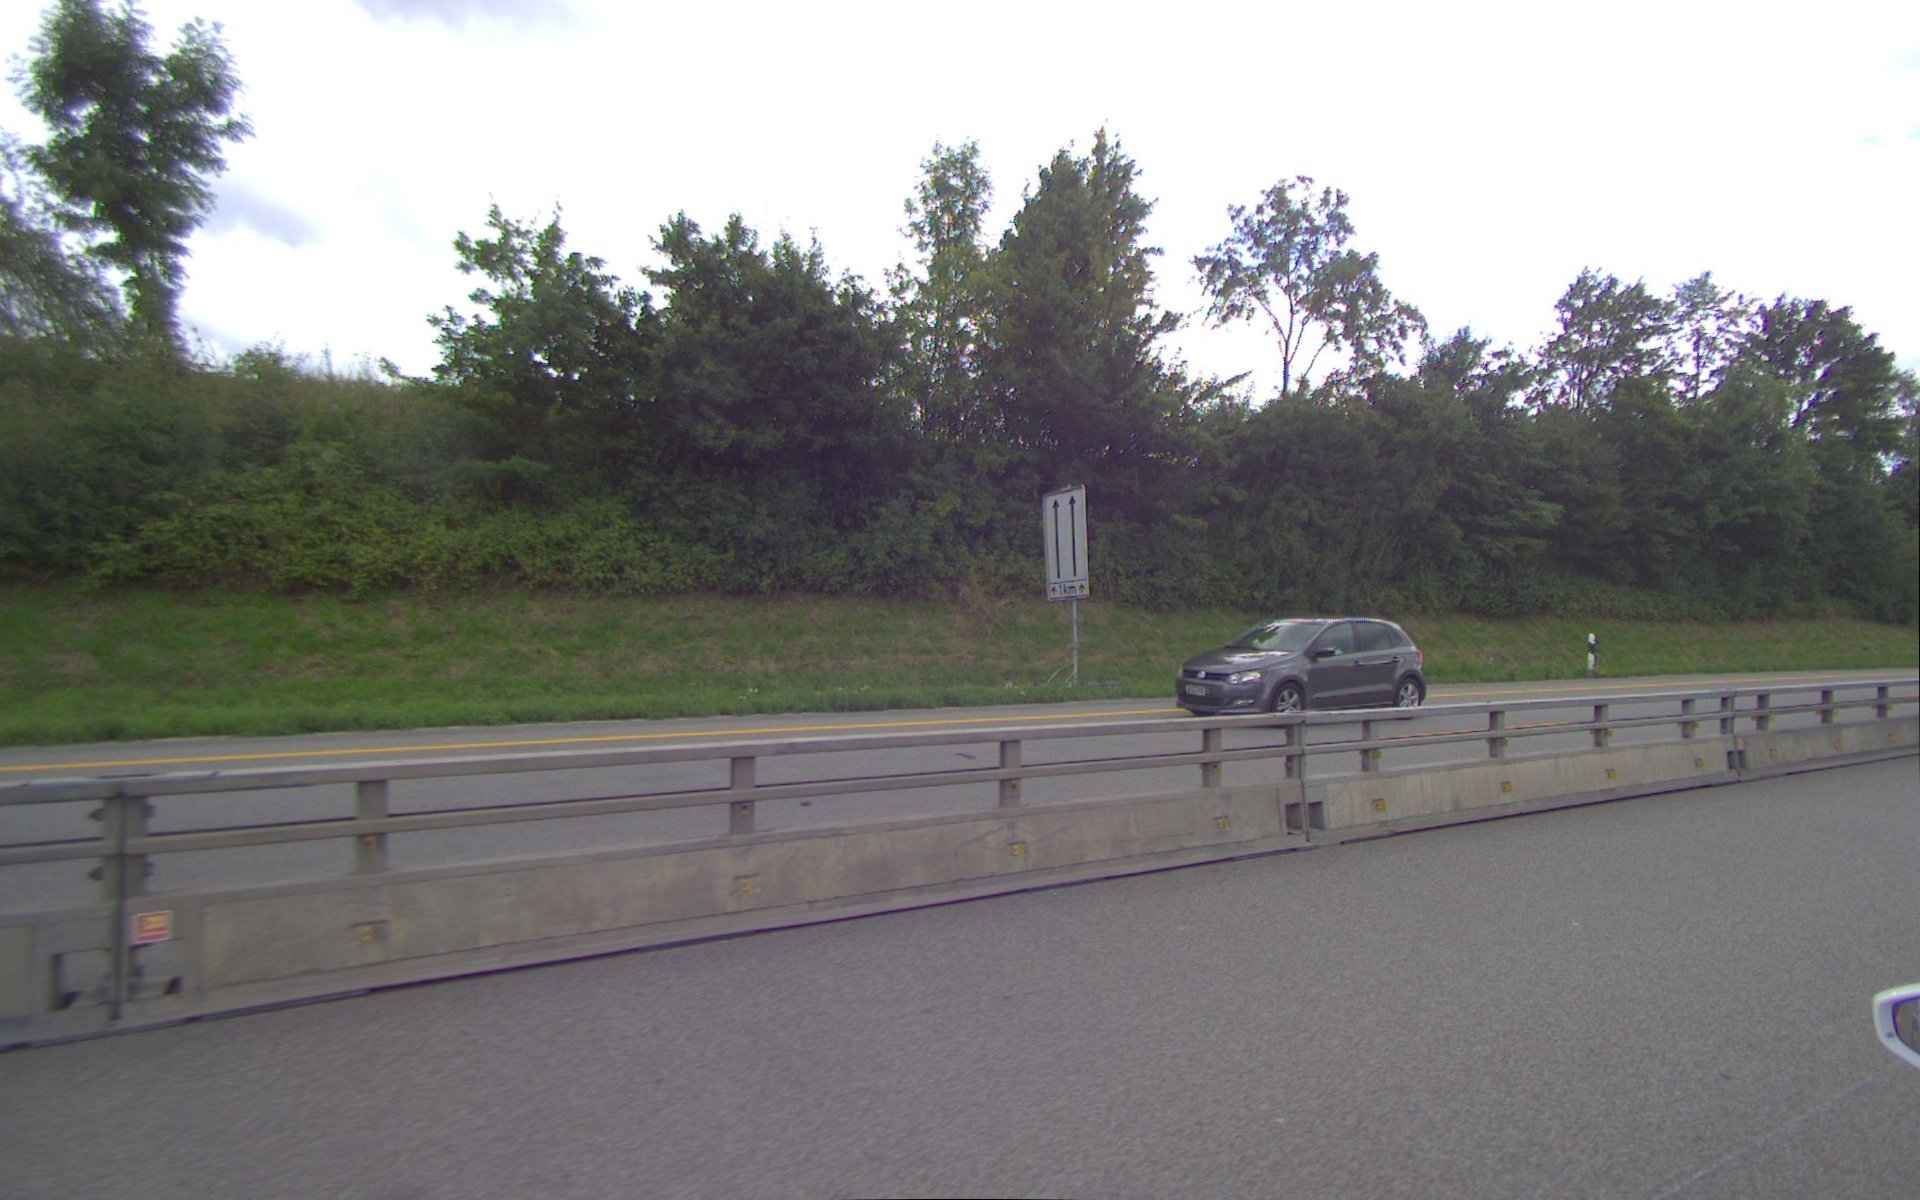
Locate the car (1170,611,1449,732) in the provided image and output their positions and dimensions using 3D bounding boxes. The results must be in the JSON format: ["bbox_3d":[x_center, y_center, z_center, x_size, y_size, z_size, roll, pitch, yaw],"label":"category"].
[{"bbox_3d":[4.932,0.930,14.080,3.743,1.459,1.660,1,0,-30],"label":"car"}]
